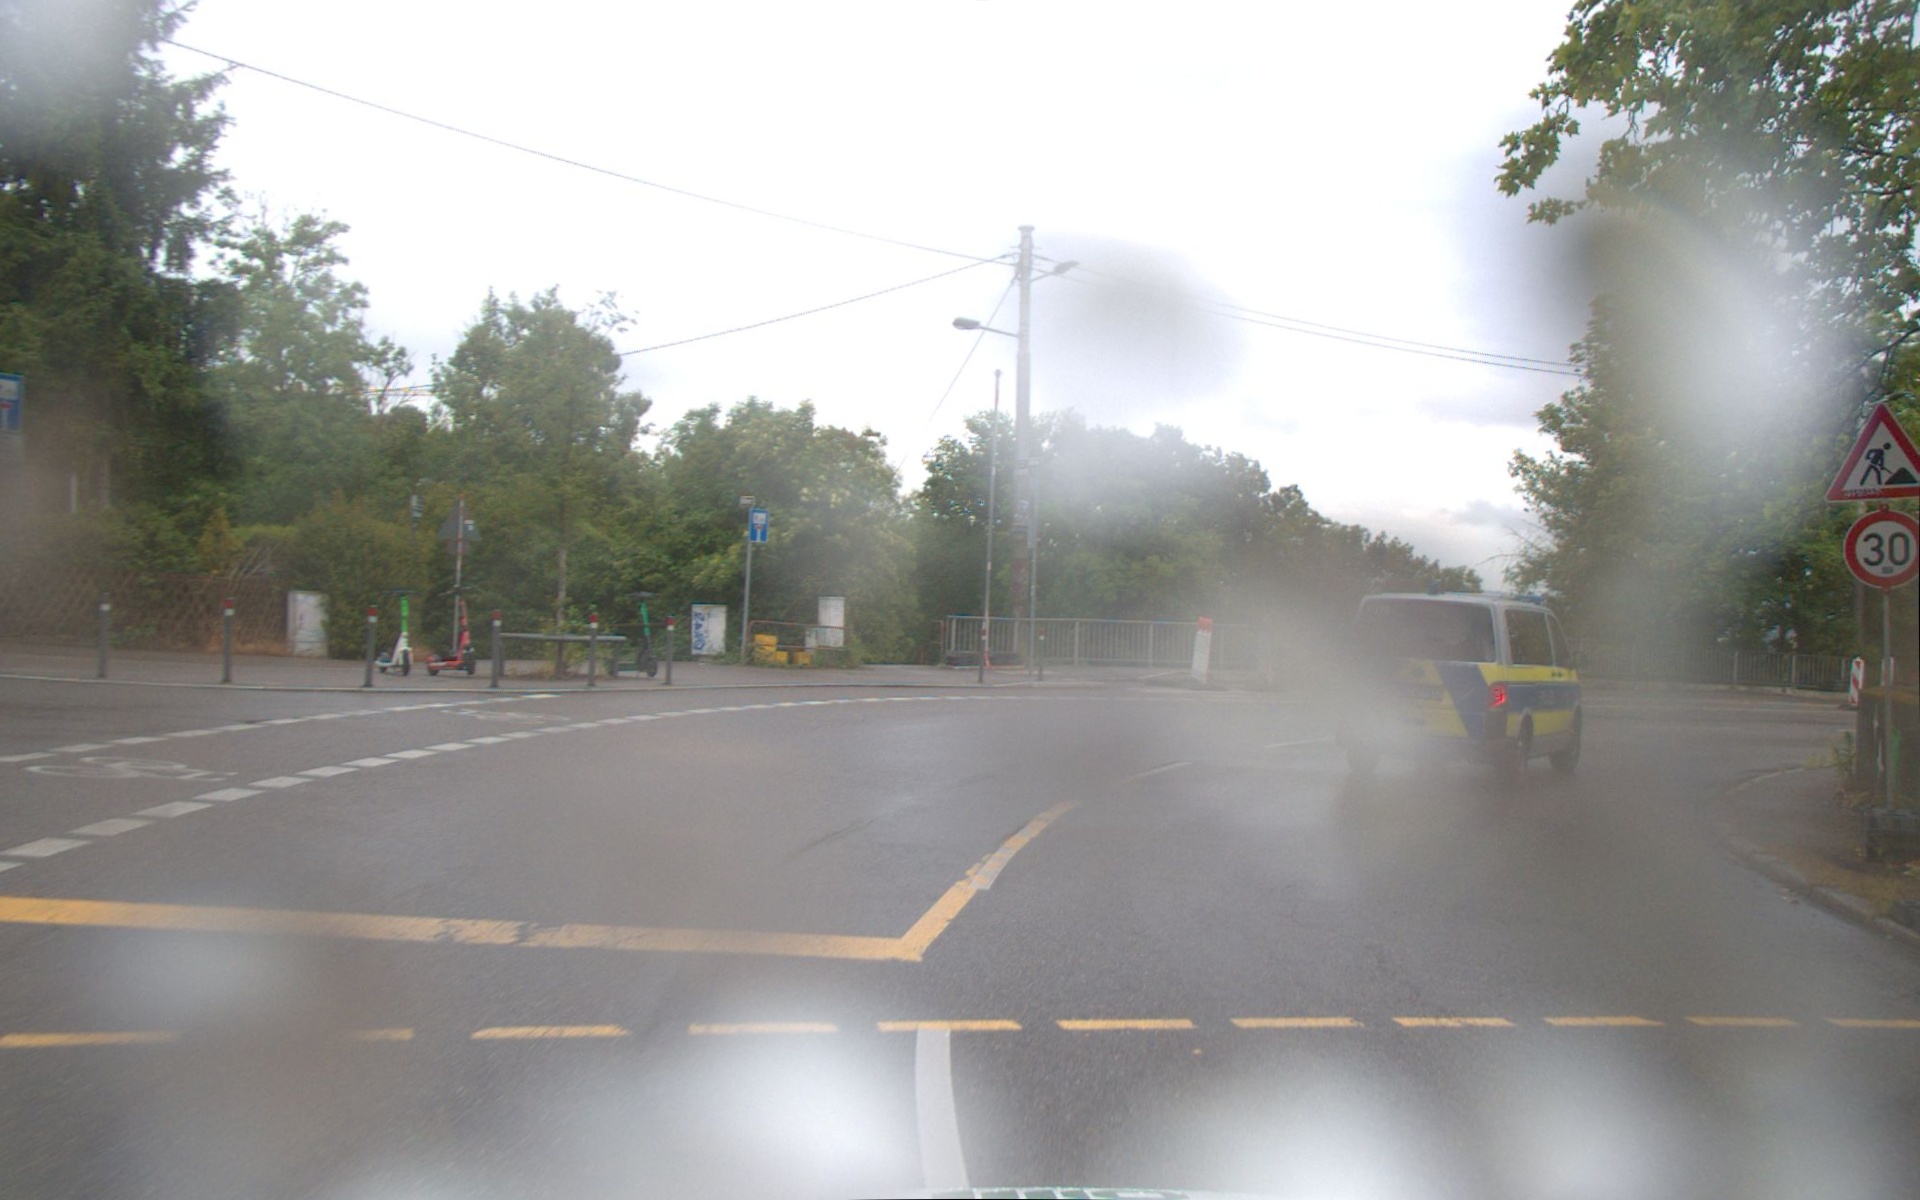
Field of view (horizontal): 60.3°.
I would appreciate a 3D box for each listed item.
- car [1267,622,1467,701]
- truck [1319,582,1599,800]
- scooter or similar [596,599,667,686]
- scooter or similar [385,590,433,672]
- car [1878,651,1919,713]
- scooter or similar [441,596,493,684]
[{"bbox_3d":[8.605,1.310,34.900,4.081,1.422,1.673,4,-1,-31],"label":"car"},{"bbox_3d":[5.792,0.970,18.740,1.957,2.048,4.725,3,-1,30],"label":"truck"},{"bbox_3d":[-4.959,0.630,24.940,1.013,1.239,0.243,3,-1,21],"label":"scooter or similar"},{"bbox_3d":[-7.742,0.424,23.236,0.241,1.088,1.023,4,-1,-39],"label":"scooter or similar"},{"bbox_3d":[26.193,2.220,42.447,4.226,1.465,1.964,3,1,-7],"label":"car"},{"bbox_3d":[-6.967,0.561,23.371,0.241,1.184,1.022,4,-1,-41],"label":"scooter or similar"}]
